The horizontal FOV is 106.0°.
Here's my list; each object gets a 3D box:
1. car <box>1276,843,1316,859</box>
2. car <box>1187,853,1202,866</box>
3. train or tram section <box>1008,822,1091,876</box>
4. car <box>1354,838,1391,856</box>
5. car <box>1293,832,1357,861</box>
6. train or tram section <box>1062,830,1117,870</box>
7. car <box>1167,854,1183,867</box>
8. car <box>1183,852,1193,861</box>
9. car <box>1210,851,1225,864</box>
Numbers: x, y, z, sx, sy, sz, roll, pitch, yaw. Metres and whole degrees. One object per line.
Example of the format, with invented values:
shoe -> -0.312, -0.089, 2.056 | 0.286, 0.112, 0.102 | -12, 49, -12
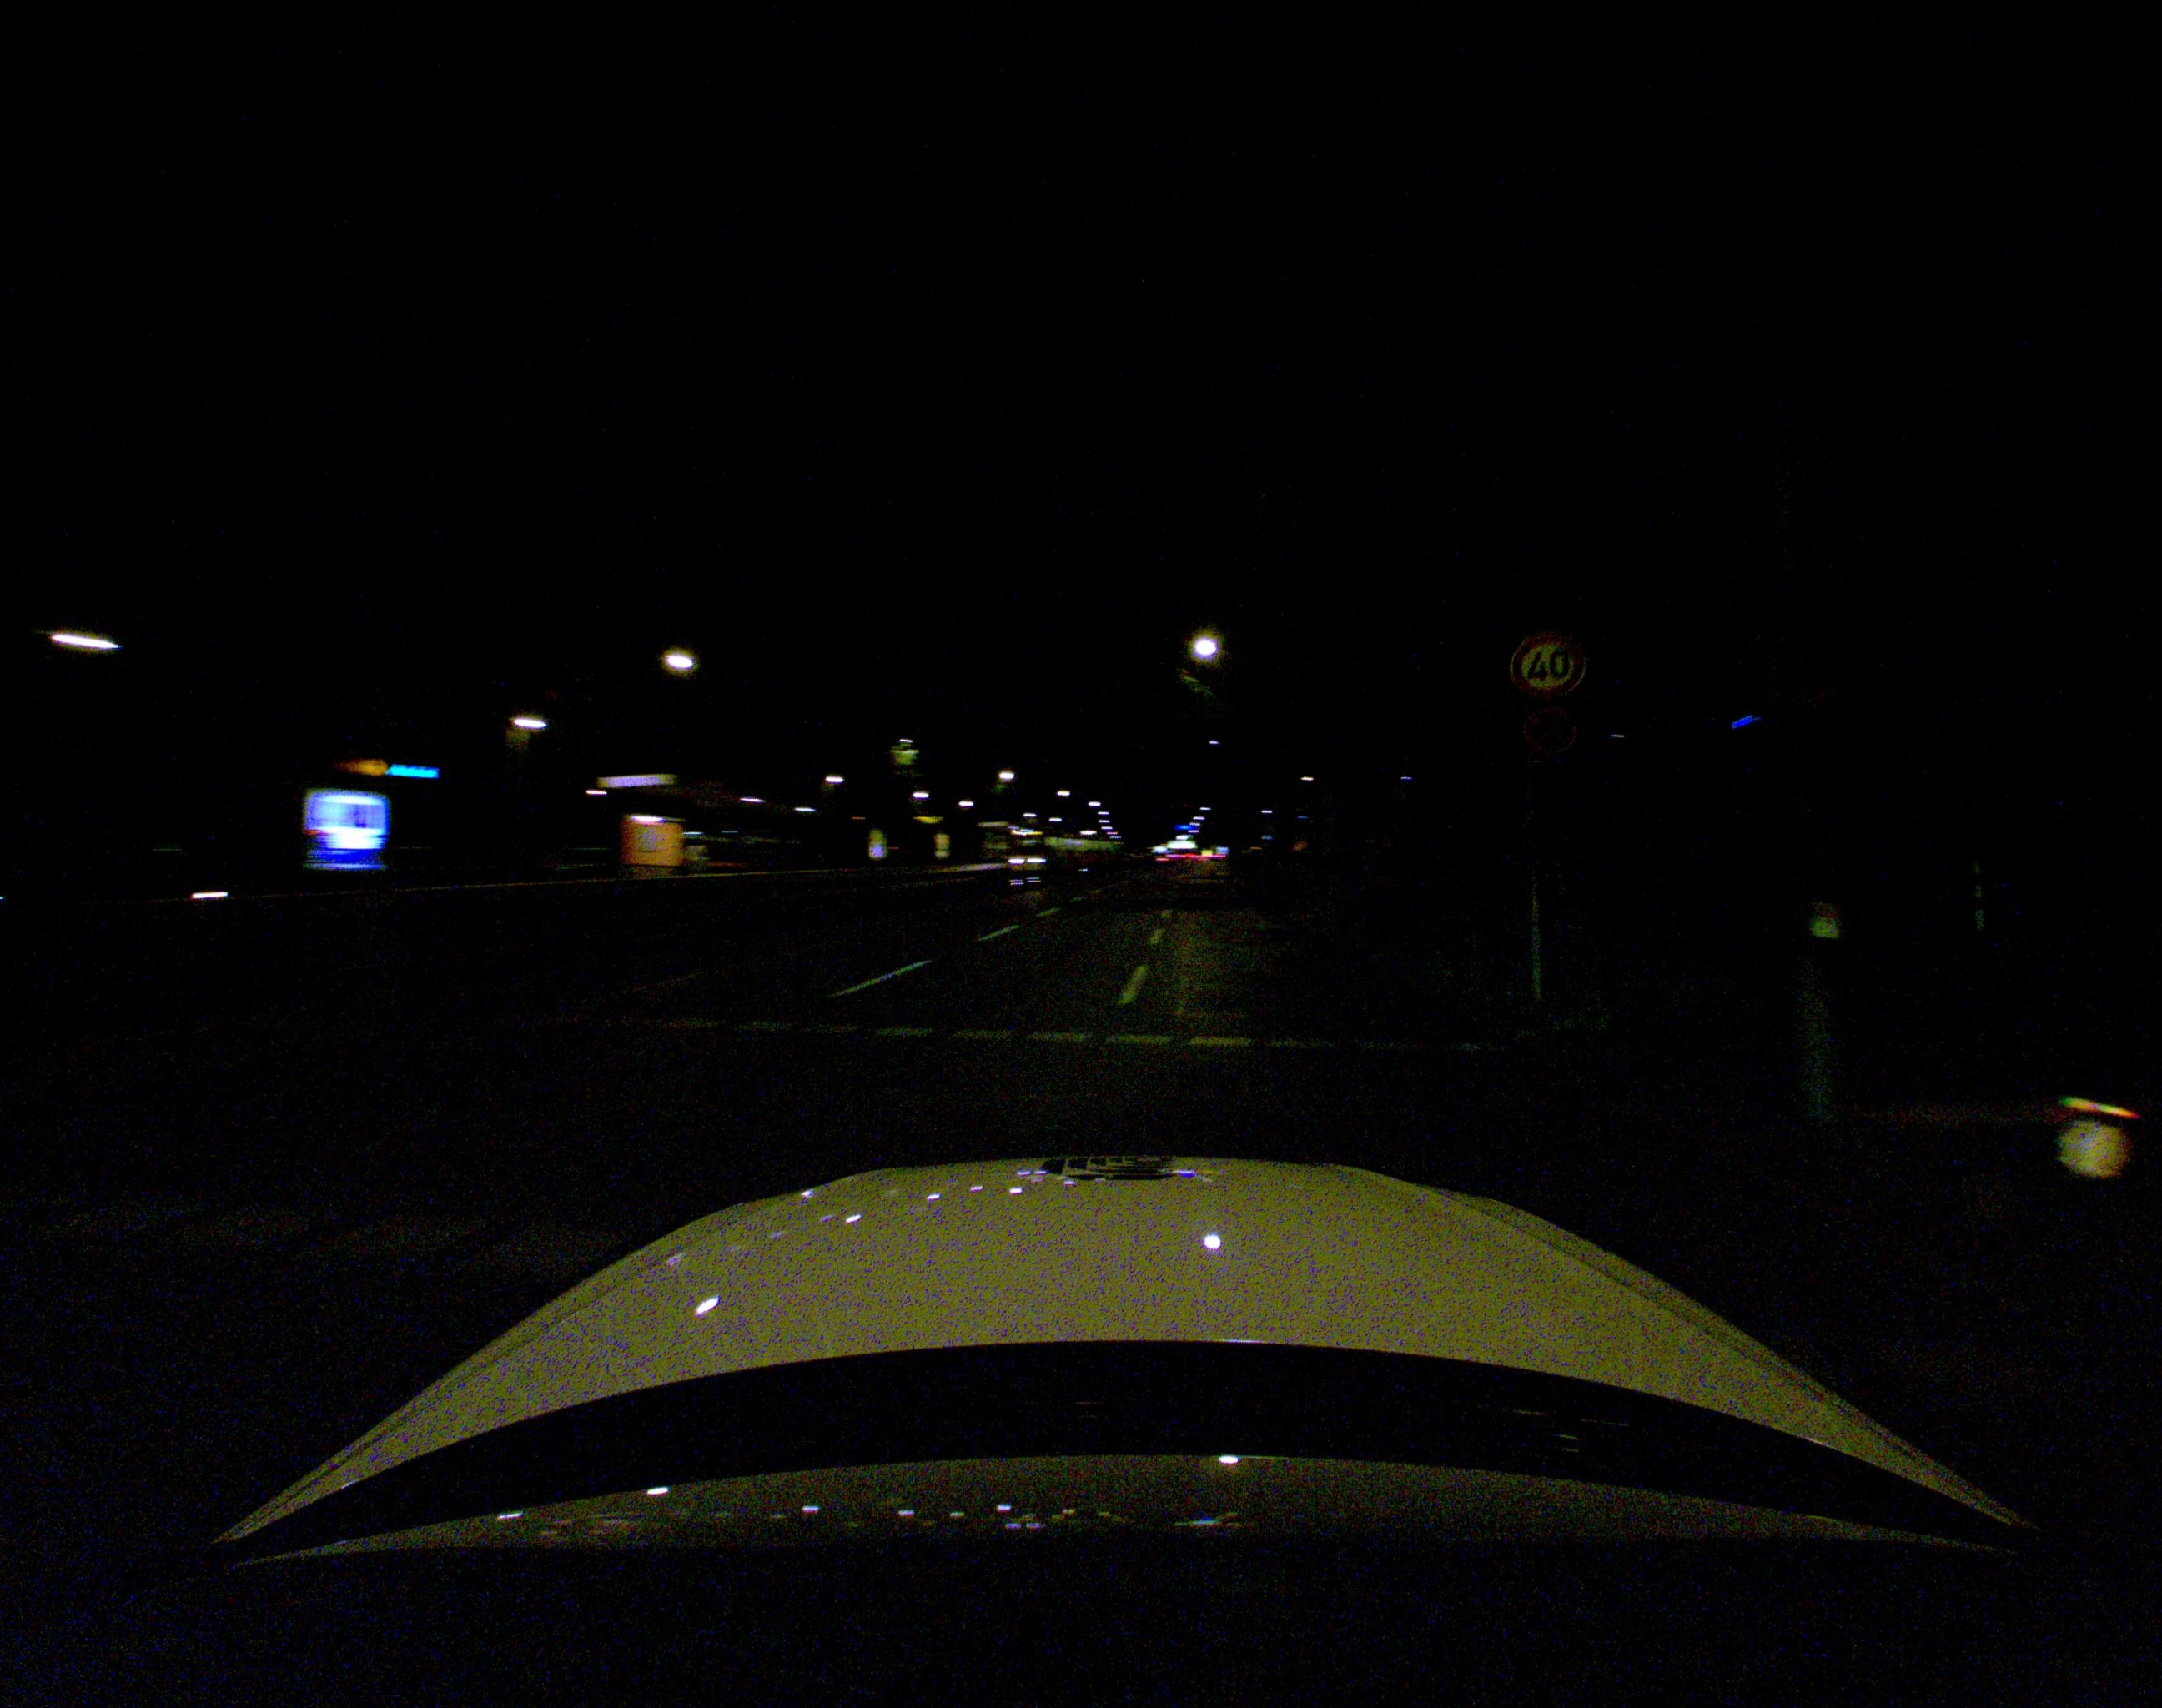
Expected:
car -> 27.777, -0.418, 105.395 | 4.449, 1.687, 1.998 | -5, 0, -2
car -> 18.427, 0.857, 131.981 | 2.342, 2.129, 4.837 | 0, -1, 8
train or tram section -> -2.191, -0.360, 68.314 | 2.721, 3.846, 19.419 | -1, 0, 10
car -> 31.152, -0.718, 87.100 | 1.808, 1.712, 3.949 | -4, 0, -13
car -> 26.264, -0.826, 87.624 | 6.014, 2.529, 2.277 | -6, 0, -8
train or tram section -> 1.189, -0.409, 87.110 | 2.741, 3.827, 18.723 | -1, 0, 10
car -> 14.663, 0.959, 126.792 | 2.250, 2.014, 4.837 | 0, -1, 8
car -> 22.689, 0.635, 172.369 | 1.876, 1.860, 4.009 | -1, -1, 8
car -> 23.079, 0.631, 138.187 | 2.413, 2.113, 4.837 | 0, -1, 8
